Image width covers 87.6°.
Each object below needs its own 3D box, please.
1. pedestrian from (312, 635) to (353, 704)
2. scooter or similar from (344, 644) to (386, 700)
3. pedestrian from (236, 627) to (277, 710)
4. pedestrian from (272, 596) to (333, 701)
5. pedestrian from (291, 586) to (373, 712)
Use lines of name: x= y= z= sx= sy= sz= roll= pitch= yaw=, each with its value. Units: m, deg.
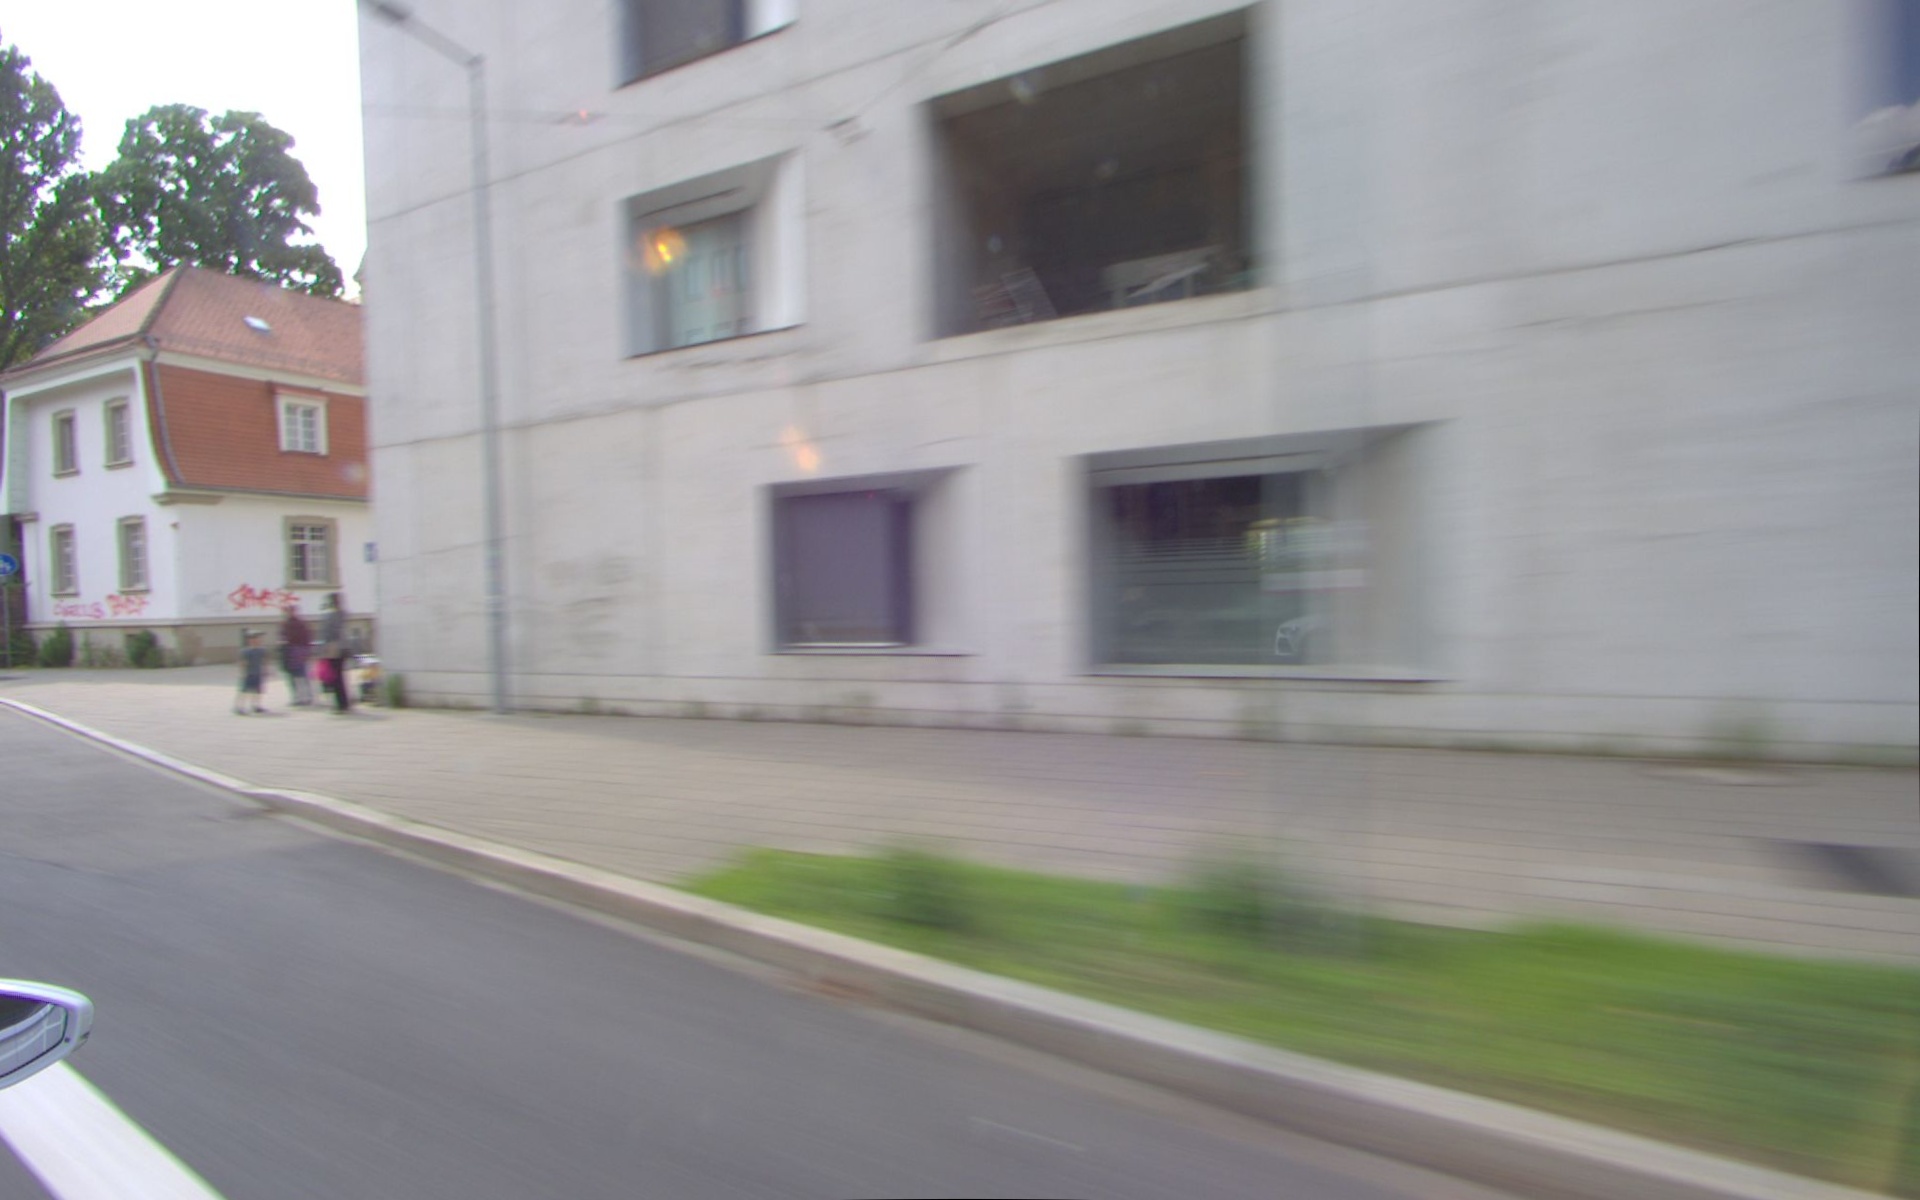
pedestrian: x=-9.794 y=1.078 z=15.629 sx=0.390 sy=1.025 sz=0.342 roll=0 pitch=3 yaw=19
scooter or similar: x=-9.391 y=1.126 z=15.812 sx=0.262 sy=0.812 sz=0.549 roll=0 pitch=4 yaw=4
pedestrian: x=-10.738 y=1.038 z=15.288 sx=0.402 sy=1.217 sz=0.418 roll=-4 pitch=4 yaw=-43
pedestrian: x=-10.370 y=0.747 z=15.794 sx=0.539 sy=1.602 sz=0.520 roll=0 pitch=3 yaw=18
pedestrian: x=-9.122 y=0.683 z=14.549 sx=0.736 sy=1.748 sz=0.683 roll=1 pitch=4 yaw=31
